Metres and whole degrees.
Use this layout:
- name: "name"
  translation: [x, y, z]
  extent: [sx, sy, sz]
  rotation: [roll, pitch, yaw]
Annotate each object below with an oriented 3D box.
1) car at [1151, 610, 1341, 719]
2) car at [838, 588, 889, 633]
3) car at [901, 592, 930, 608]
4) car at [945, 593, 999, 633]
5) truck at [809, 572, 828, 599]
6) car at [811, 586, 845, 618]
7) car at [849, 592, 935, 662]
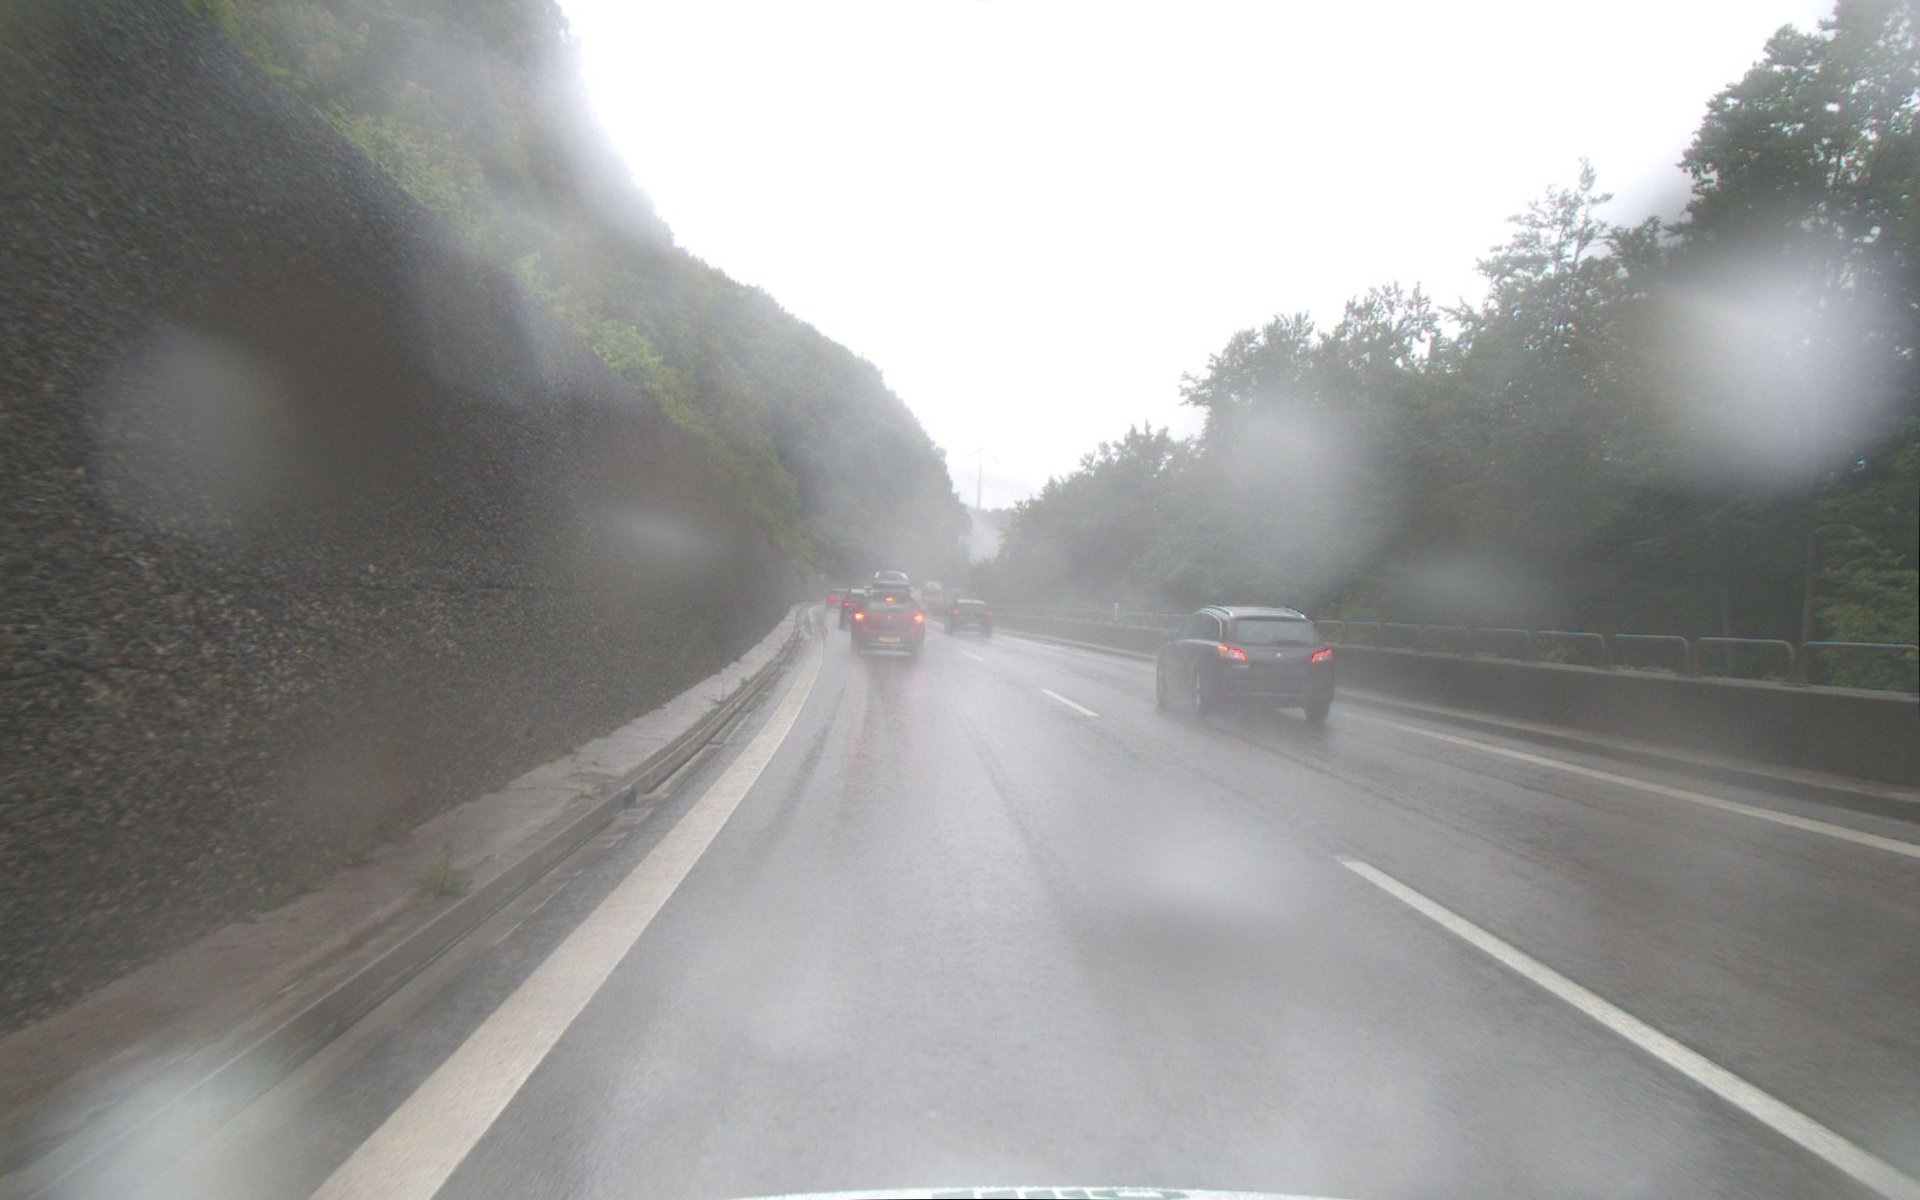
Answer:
- name: "car"
  translation: [3.806, 0.816, 22.671]
  extent: [1.764, 1.330, 3.998]
  rotation: [0, 0, -2]
- name: "car"
  translation: [-3.908, 0.452, 67.063]
  extent: [1.954, 1.713, 3.997]
  rotation: [1, -1, -3]
- name: "car"
  translation: [-5.935, -0.047, 219.214]
  extent: [2.412, 2.049, 4.709]
  rotation: [1, 0, -20]
- name: "car"
  translation: [0.480, 0.536, 68.687]
  extent: [1.954, 1.579, 3.997]
  rotation: [1, 0, -4]
- name: "truck"
  translation: [-14.726, -1.495, 172.285]
  extent: [1.955, 2.799, 5.580]
  rotation: [0, 0, -5]
- name: "car"
  translation: [-9.113, 0.147, 113.752]
  extent: [1.957, 2.049, 3.991]
  rotation: [2, -1, -9]
- name: "car"
  translation: [-1.661, 0.638, 39.820]
  extent: [1.954, 1.579, 3.997]
  rotation: [1, -1, -3]
